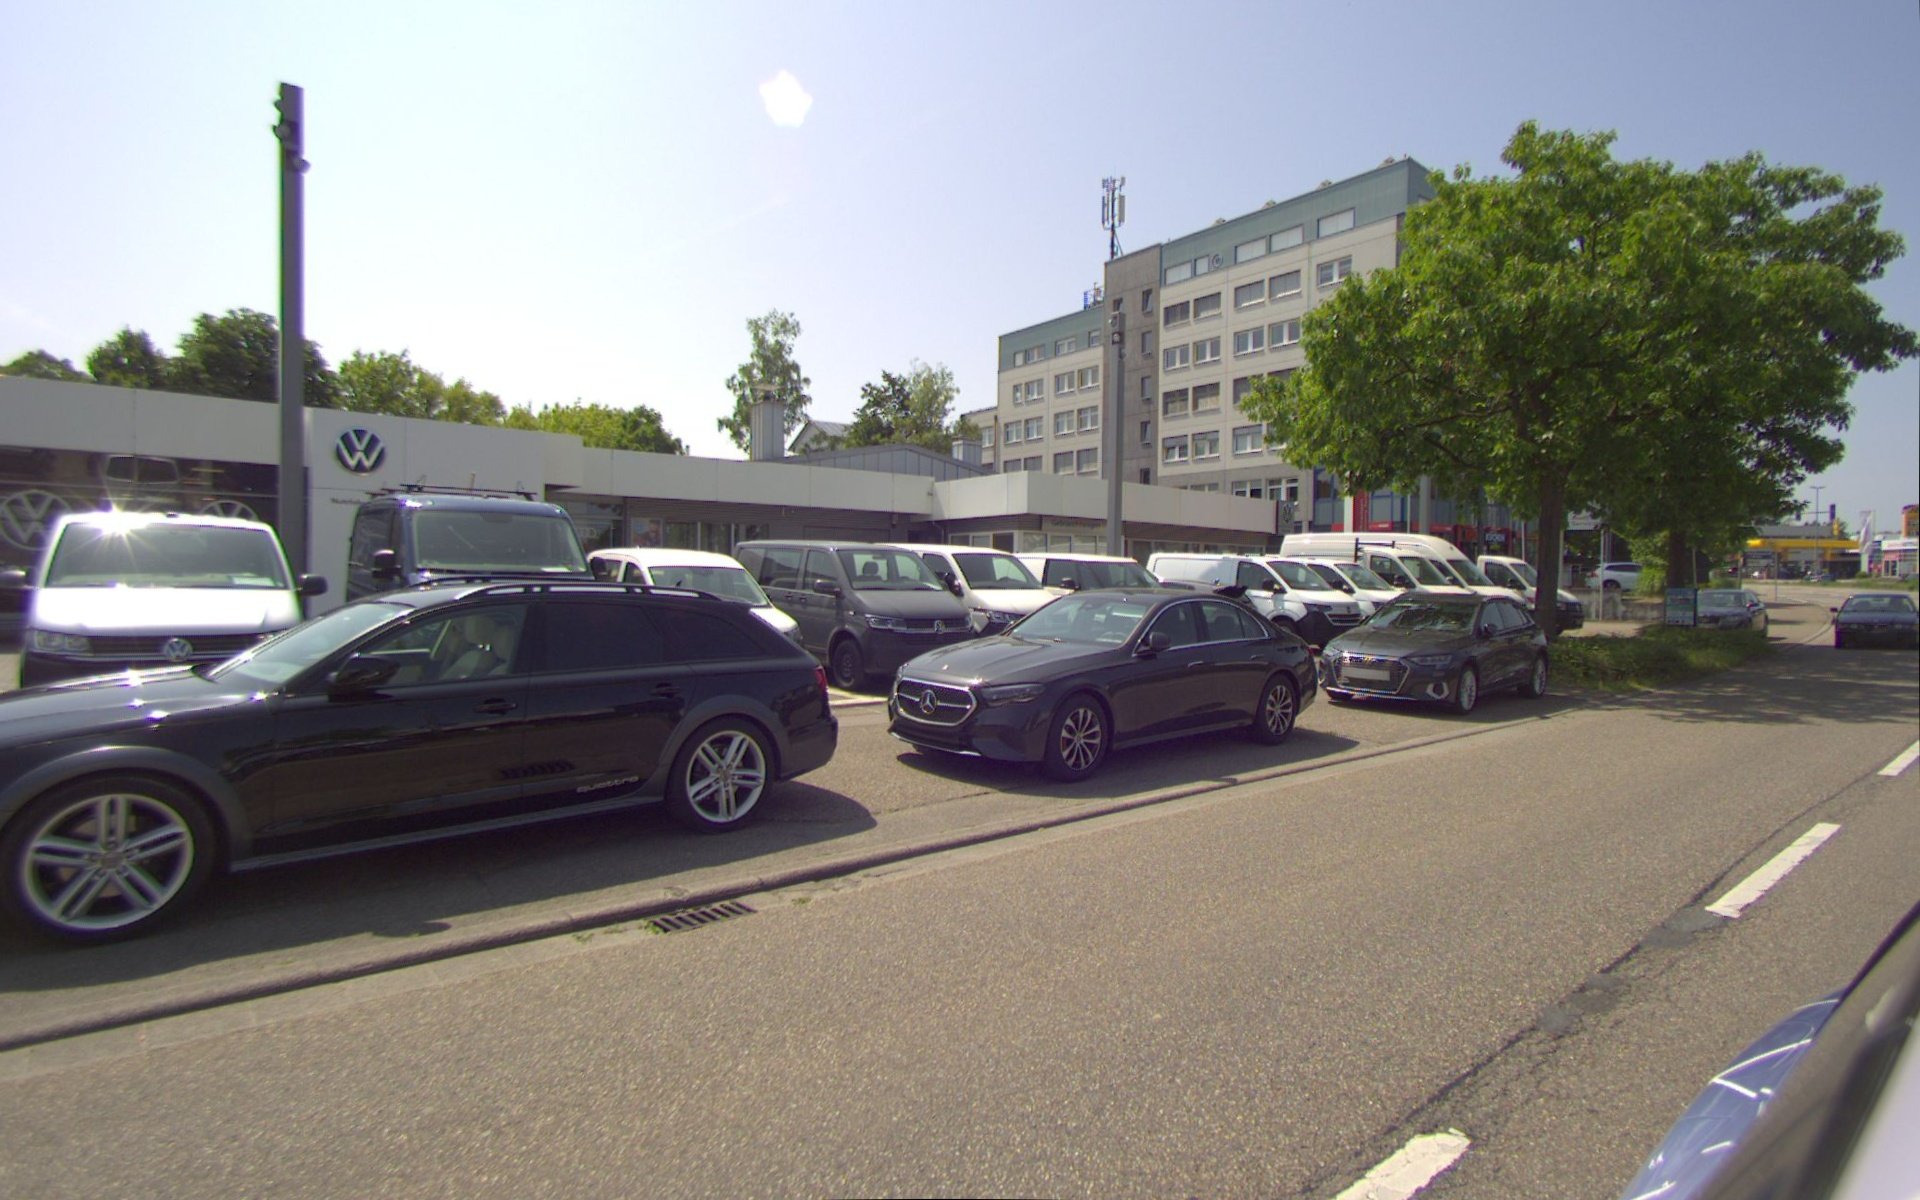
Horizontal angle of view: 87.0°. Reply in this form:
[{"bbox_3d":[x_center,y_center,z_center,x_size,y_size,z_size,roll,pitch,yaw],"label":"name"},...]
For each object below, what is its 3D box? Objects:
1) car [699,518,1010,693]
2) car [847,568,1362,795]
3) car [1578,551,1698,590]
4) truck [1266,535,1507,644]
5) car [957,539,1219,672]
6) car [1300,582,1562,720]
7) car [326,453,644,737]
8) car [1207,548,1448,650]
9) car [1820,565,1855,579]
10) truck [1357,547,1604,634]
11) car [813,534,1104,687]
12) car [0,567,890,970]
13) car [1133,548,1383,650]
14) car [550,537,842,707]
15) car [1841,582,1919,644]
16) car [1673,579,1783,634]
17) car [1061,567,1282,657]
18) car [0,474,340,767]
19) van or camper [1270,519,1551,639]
[{"bbox_3d":[-1.731,-0.041,14.901,2.092,2.140,4.909,0,2,-41],"label":"car"},{"bbox_3d":[1.591,0.529,9.563,5.071,1.548,1.965,-1,3,-41],"label":"car"},{"bbox_3d":[33.786,-1.469,50.605,4.689,1.735,1.984,-1,1,25],"label":"car"},{"bbox_3d":[10.631,-0.356,25.639,2.073,2.466,5.261,0,2,-39],"label":"truck"},{"bbox_3d":[2.214,-0.049,18.628,2.159,2.037,4.522,-2,5,-39],"label":"car"},{"bbox_3d":[6.358,0.530,13.410,4.366,1.453,1.683,-2,3,-44],"label":"car"},{"bbox_3d":[-5.923,-0.082,12.066,2.165,2.555,5.858,-2,1,-38],"label":"car"},{"bbox_3d":[8.523,-0.081,23.867,2.122,2.139,4.956,0,1,-41],"label":"car"},{"bbox_3d":[95.476,-3.039,110.160,1.852,1.382,4.305,3,3,28],"label":"car"},{"bbox_3d":[15.685,-0.378,30.906,2.326,2.365,6.261,0,2,-39],"label":"truck"},{"bbox_3d":[-0.216,0.012,16.836,2.005,2.122,5.075,-1,3,-41],"label":"car"},{"bbox_3d":[-2.943,0.594,5.797,5.071,1.499,1.857,-1,3,-44],"label":"car"},{"bbox_3d":[6.409,-0.133,22.256,2.104,1.995,4.924,-1,3,-40],"label":"car"},{"bbox_3d":[-3.684,0.144,13.511,1.918,1.874,4.577,0,2,-41],"label":"car"},{"bbox_3d":[23.788,0.273,25.864,1.694,1.390,3.936,1,3,45],"label":"car"},{"bbox_3d":[22.233,0.148,29.249,4.247,1.424,1.799,-2,1,-43],"label":"car"},{"bbox_3d":[4.277,0.172,20.826,4.024,1.488,1.884,5,3,43],"label":"car"},{"bbox_3d":[-7.857,0.134,9.939,2.219,2.039,5.905,-1,1,-39],"label":"car"},{"bbox_3d":[12.230,-0.628,28.070,2.236,2.934,6.809,0,2,-41],"label":"van or camper"}]
